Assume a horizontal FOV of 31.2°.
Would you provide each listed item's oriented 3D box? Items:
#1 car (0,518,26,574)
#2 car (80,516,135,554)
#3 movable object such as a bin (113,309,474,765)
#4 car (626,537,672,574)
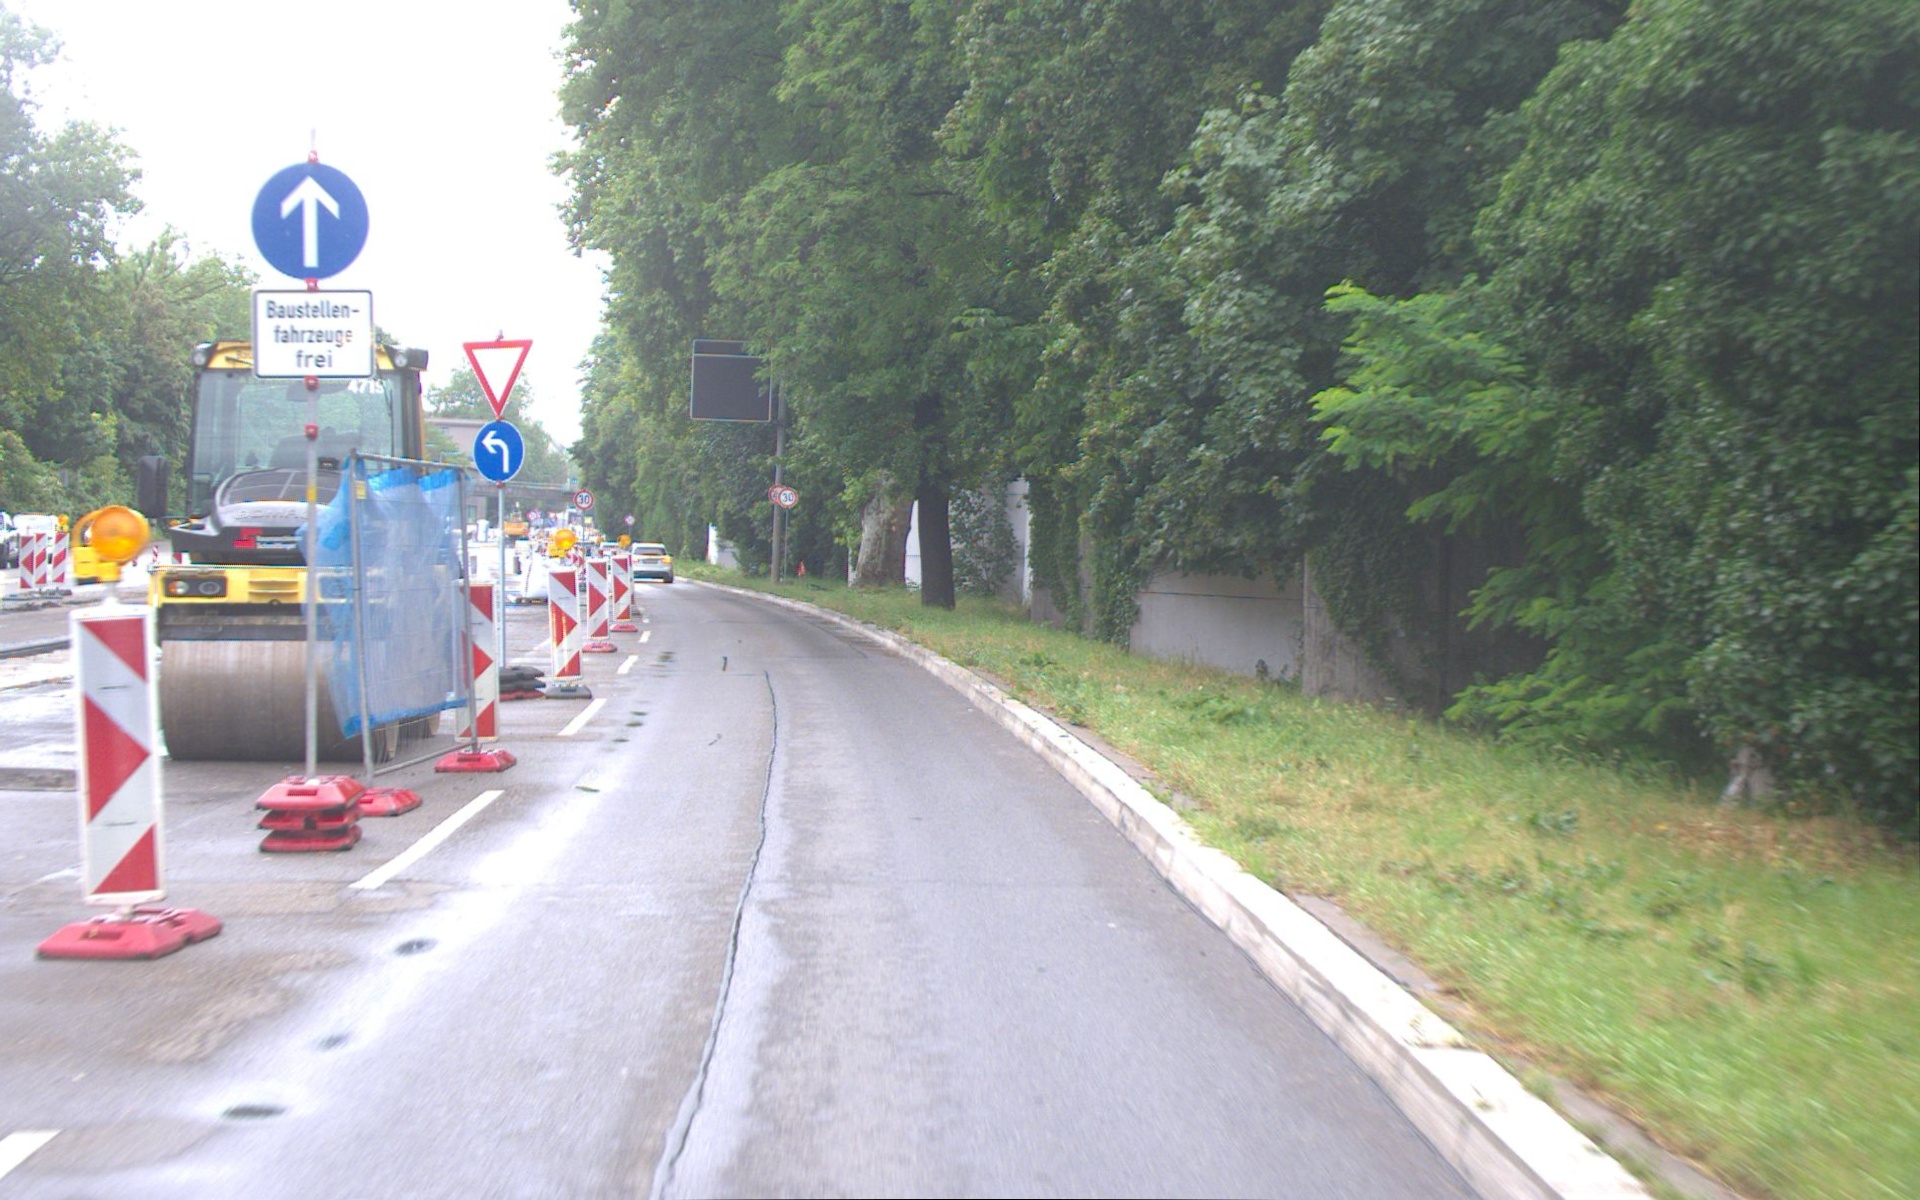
[{"bbox_3d":[-29.535,-1.640,104.035,1.776,1.658,4.917,0,1,-7],"label":"car"},{"bbox_3d":[-35.498,-2.703,143.229,1.666,1.536,4.158,-1,1,-6],"label":"car"},{"bbox_3d":[-4.778,-0.457,25.344,1.803,2.975,5.246,1,1,-3],"label":"movable object such as a bin"},{"bbox_3d":[-11.540,-1.666,127.472,1.697,1.331,3.492,0,1,-6],"label":"car"}]
